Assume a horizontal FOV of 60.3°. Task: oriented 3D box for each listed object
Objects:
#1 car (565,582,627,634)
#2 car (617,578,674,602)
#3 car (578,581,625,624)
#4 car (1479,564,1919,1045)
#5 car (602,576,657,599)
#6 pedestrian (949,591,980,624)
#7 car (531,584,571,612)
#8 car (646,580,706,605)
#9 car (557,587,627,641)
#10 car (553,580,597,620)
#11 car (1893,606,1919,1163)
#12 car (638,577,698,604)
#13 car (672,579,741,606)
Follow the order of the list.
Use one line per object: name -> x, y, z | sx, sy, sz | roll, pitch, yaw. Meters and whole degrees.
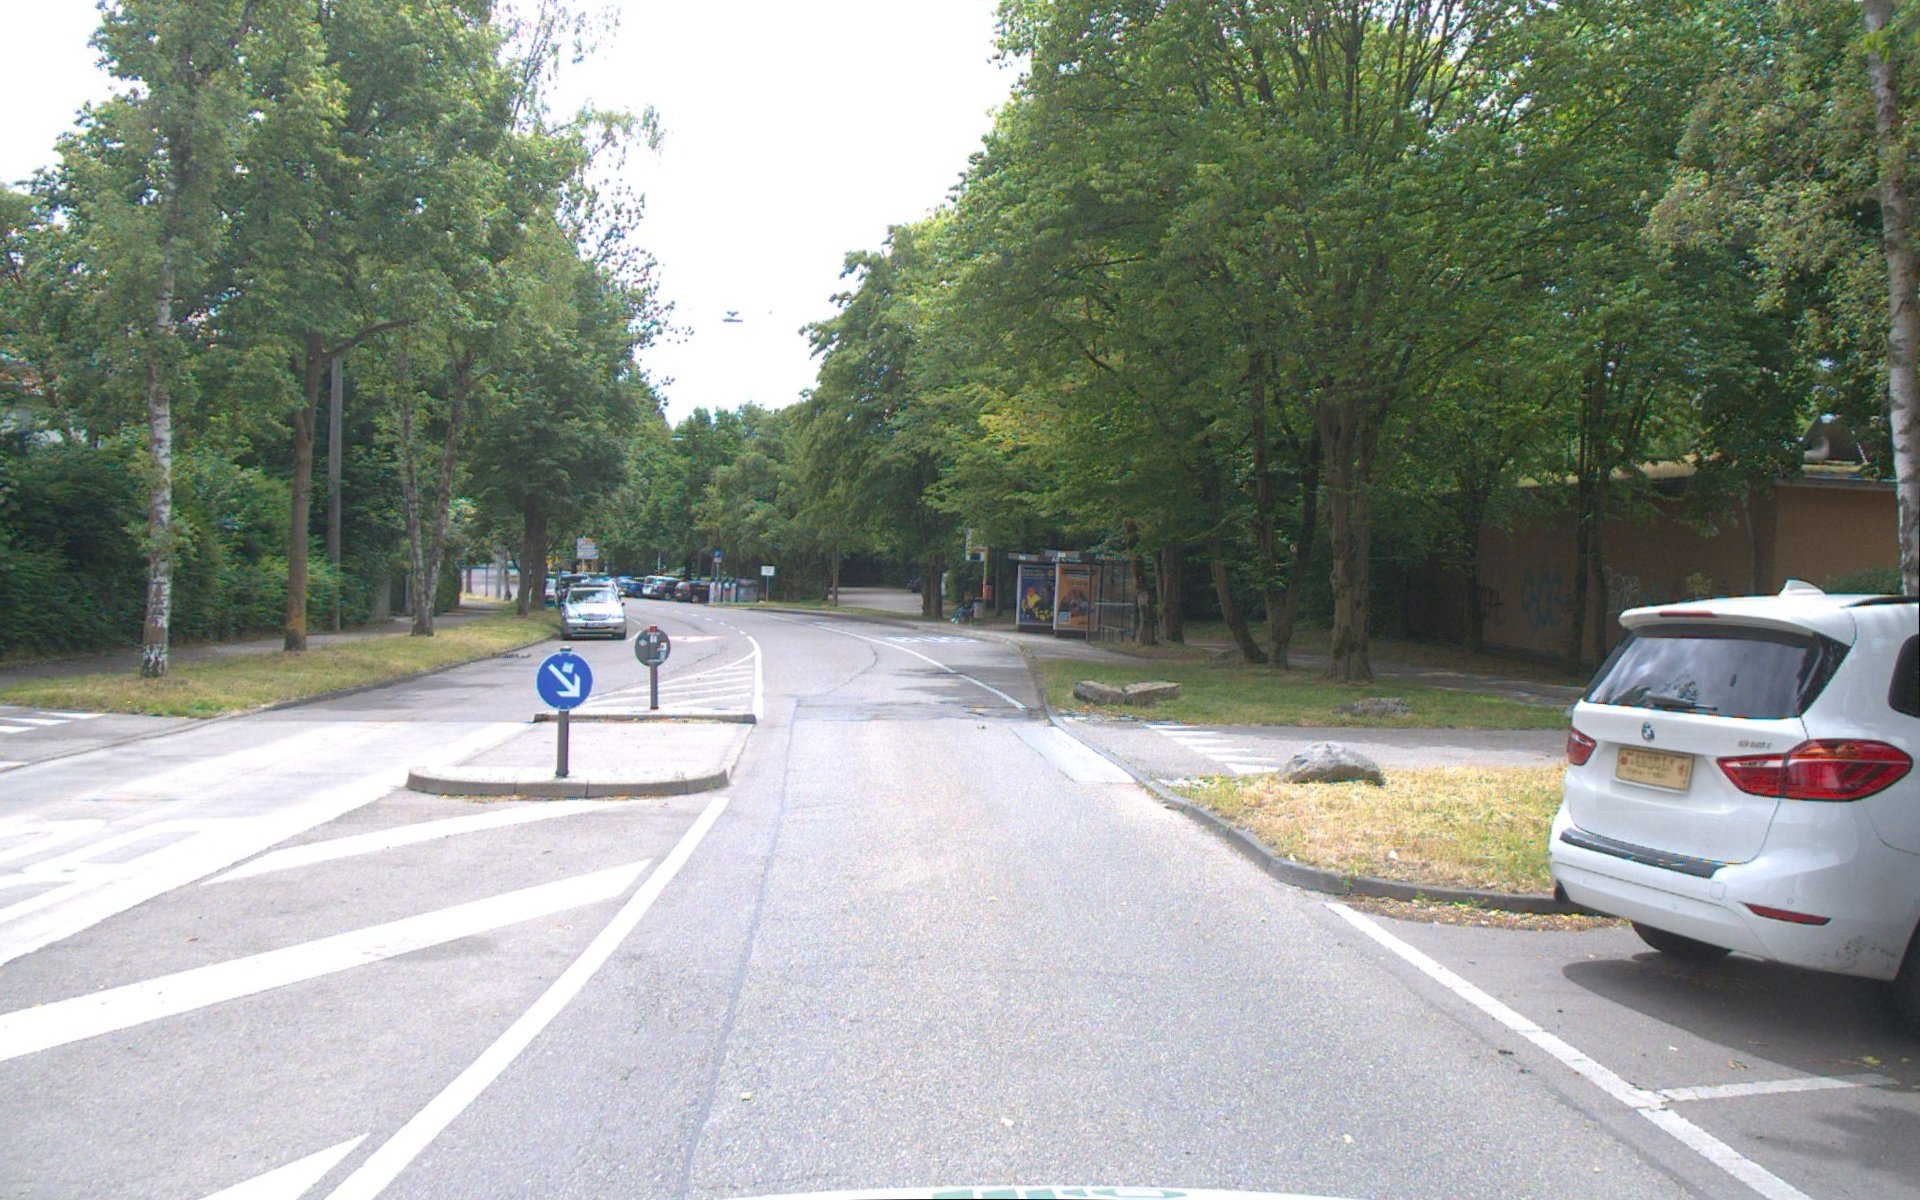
car -> -11.539, 0.225, 52.590 | 1.704, 1.565, 4.180 | 0, 0, -10
car -> -23.222, -0.708, 122.310 | 3.800, 1.555, 1.719 | 4, -2, -43
car -> -13.857, 0.076, 63.968 | 1.705, 1.606, 4.128 | 0, 0, -13
car -> 4.691, 0.780, 6.985 | 4.391, 1.613, 1.901 | 3, 0, -13
car -> -25.336, -0.969, 126.845 | 3.800, 1.555, 1.719 | 4, -2, -43
pedestrian -> 0.162, 0.268, 61.670 | 1.046, 1.203, 0.578 | 0, 0, -15
car -> -24.786, -0.130, 100.121 | 1.780, 1.590, 4.239 | -3, 1, -22
car -> -19.871, -0.507, 115.835 | 3.800, 1.493, 1.719 | 4, -1, -43
car -> -10.407, 0.353, 46.623 | 1.707, 1.441, 4.453 | 0, 0, -16
car -> -19.714, -0.019, 84.636 | 1.829, 1.942, 5.058 | 0, 0, -17
car -> 4.769, 0.861, 4.360 | 4.071, 1.489, 1.788 | 3, 0, -20
car -> -20.892, -0.678, 118.264 | 3.800, 1.750, 1.849 | 4, -2, -43
car -> -16.606, -0.460, 108.329 | 3.967, 1.438, 2.026 | 4, 0, -43
